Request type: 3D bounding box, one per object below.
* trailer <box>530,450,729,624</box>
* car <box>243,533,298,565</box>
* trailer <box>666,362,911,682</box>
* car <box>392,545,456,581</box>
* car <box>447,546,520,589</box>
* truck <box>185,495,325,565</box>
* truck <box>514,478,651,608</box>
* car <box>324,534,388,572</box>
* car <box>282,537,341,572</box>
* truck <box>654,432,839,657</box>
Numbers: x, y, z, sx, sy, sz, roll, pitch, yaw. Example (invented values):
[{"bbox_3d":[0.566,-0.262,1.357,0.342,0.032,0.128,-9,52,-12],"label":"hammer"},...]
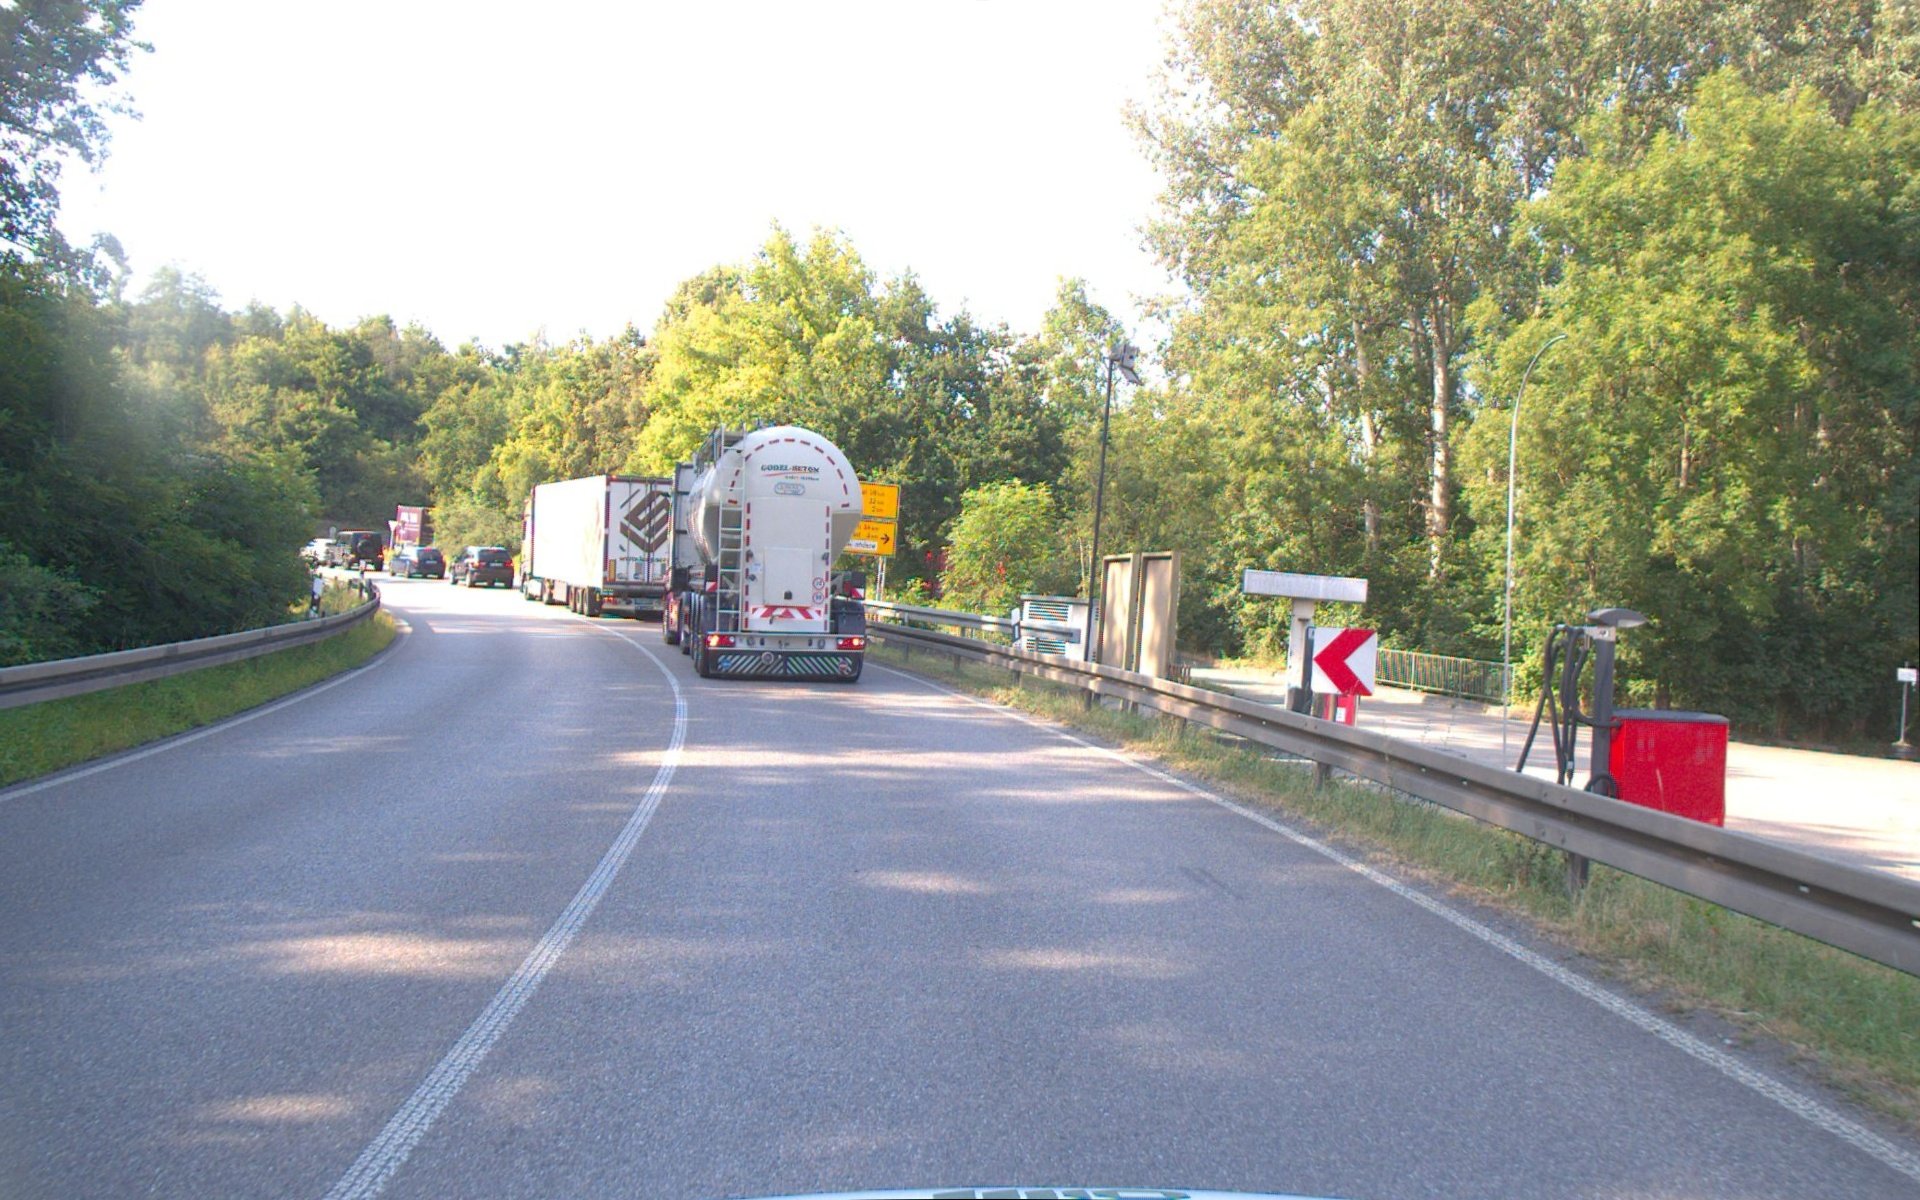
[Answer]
[{"bbox_3d":[-10.688,-1.881,51.928,3.497,4.591,12.895,3,0,-23],"label":"trailer"},{"bbox_3d":[-40.627,-2.998,97.418,1.856,1.622,3.944,4,0,-39],"label":"car"},{"bbox_3d":[-3.355,-1.220,29.304,2.837,4.531,9.574,4,0,-13],"label":"trailer"},{"bbox_3d":[-25.673,-1.781,79.185,1.852,1.592,3.951,0,2,-35],"label":"car"},{"bbox_3d":[-20.527,-1.402,71.128,1.851,1.656,3.954,4,0,-34],"label":"car"},{"bbox_3d":[-55.682,-5.442,130.960,2.957,4.664,10.219,4,0,30],"label":"truck"},{"bbox_3d":[-13.403,-1.958,58.357,3.405,4.157,6.444,3,0,-24],"label":"truck"},{"bbox_3d":[-31.572,-2.467,86.448,1.944,1.883,3.944,0,3,-40],"label":"car"},{"bbox_3d":[-36.207,-2.550,92.274,1.856,1.712,3.944,4,0,-40],"label":"car"},{"bbox_3d":[-4.606,-1.108,34.600,2.778,4.104,5.870,4,0,-16],"label":"truck"}]
